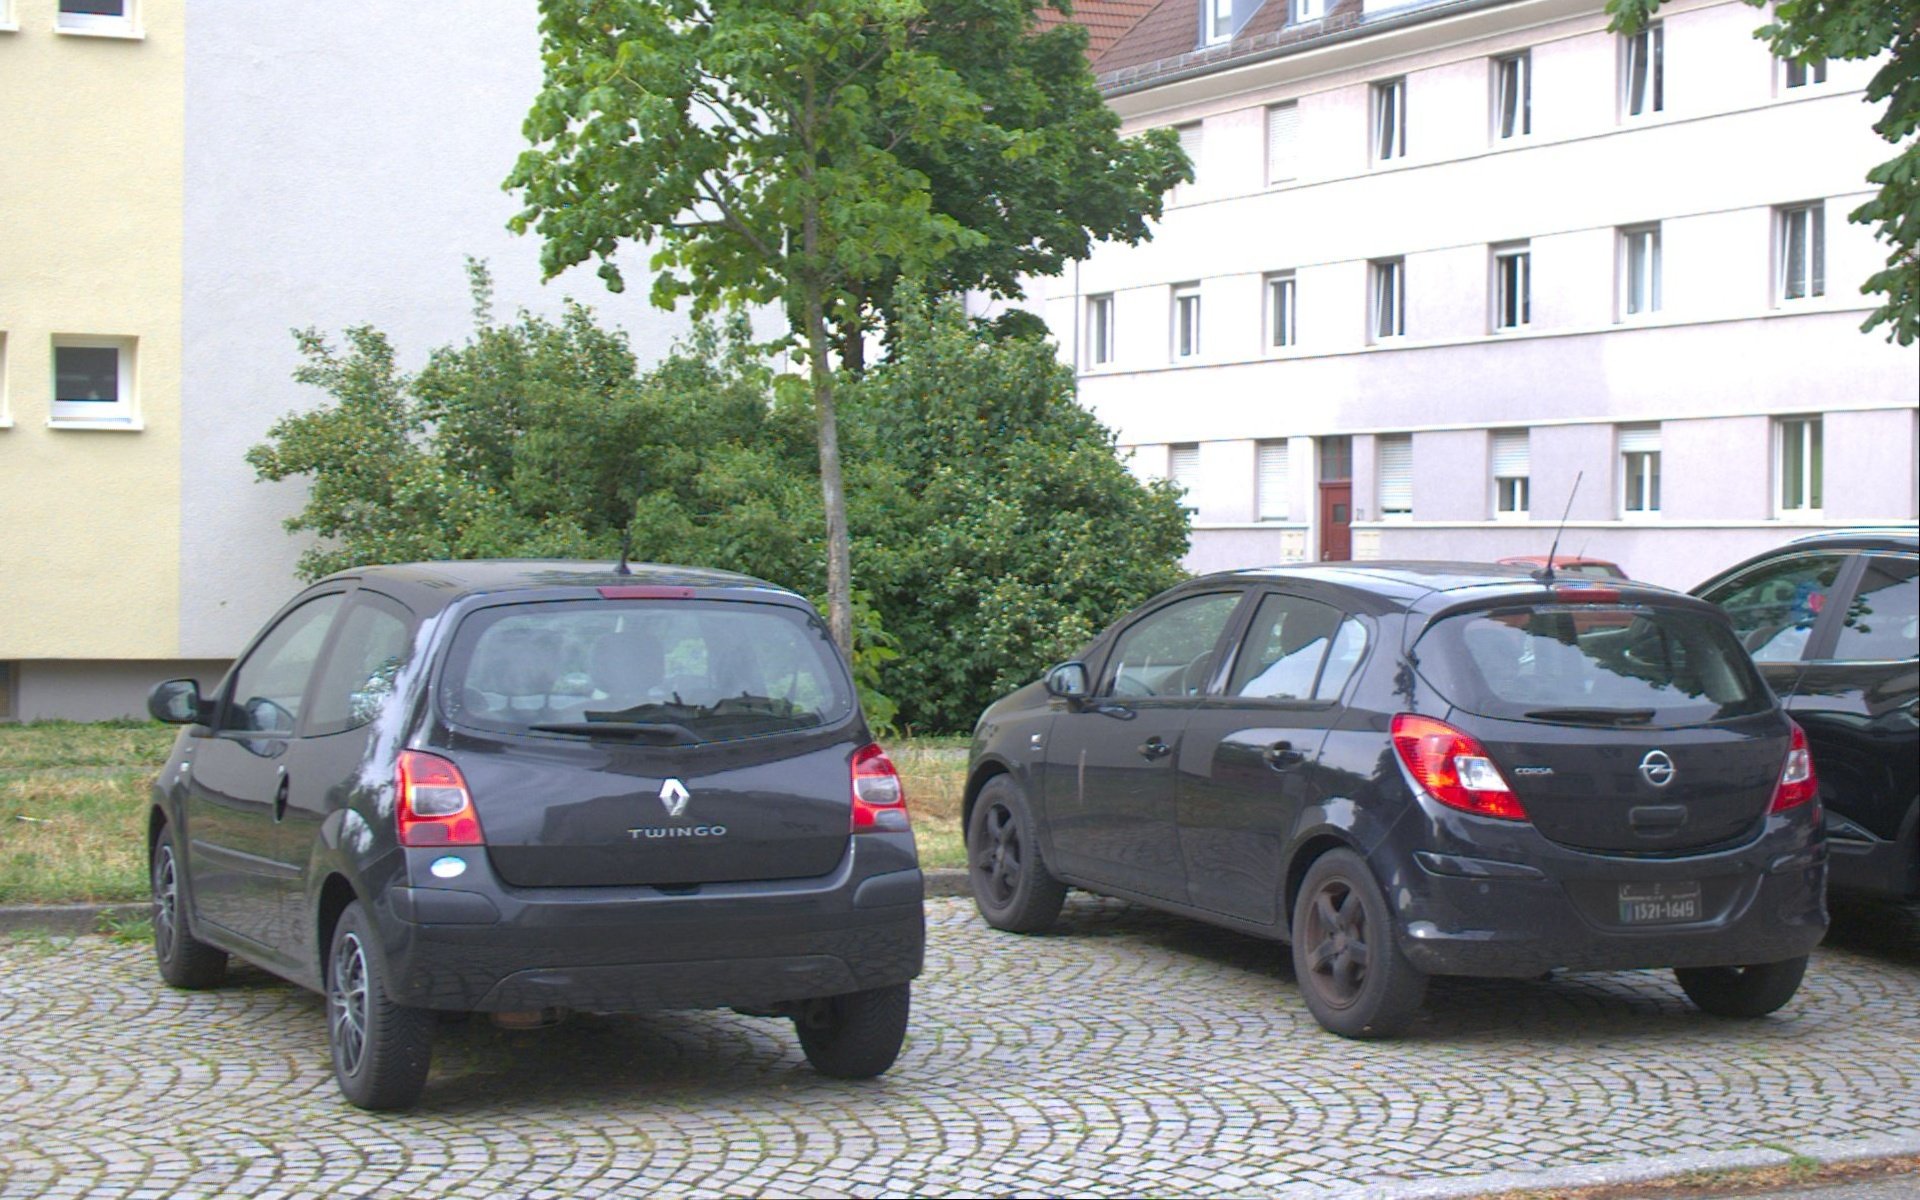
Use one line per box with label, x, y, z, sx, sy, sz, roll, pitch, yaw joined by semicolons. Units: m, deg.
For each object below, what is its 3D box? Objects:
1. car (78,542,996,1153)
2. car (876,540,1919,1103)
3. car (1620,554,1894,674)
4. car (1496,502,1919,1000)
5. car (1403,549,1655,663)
car;-1.617;0.601;11.190;1.835;1.458;4.562;0;2;-22
car;1.335;0.620;12.419;1.835;1.560;4.358;0;2;-22
car;10.327;0.154;44.781;1.567;1.468;3.697;0;1;-23
car;3.924;0.516;12.952;1.910;1.691;4.070;0;2;-22
car;8.104;0.052;49.267;1.696;1.520;3.826;-1;2;-25
